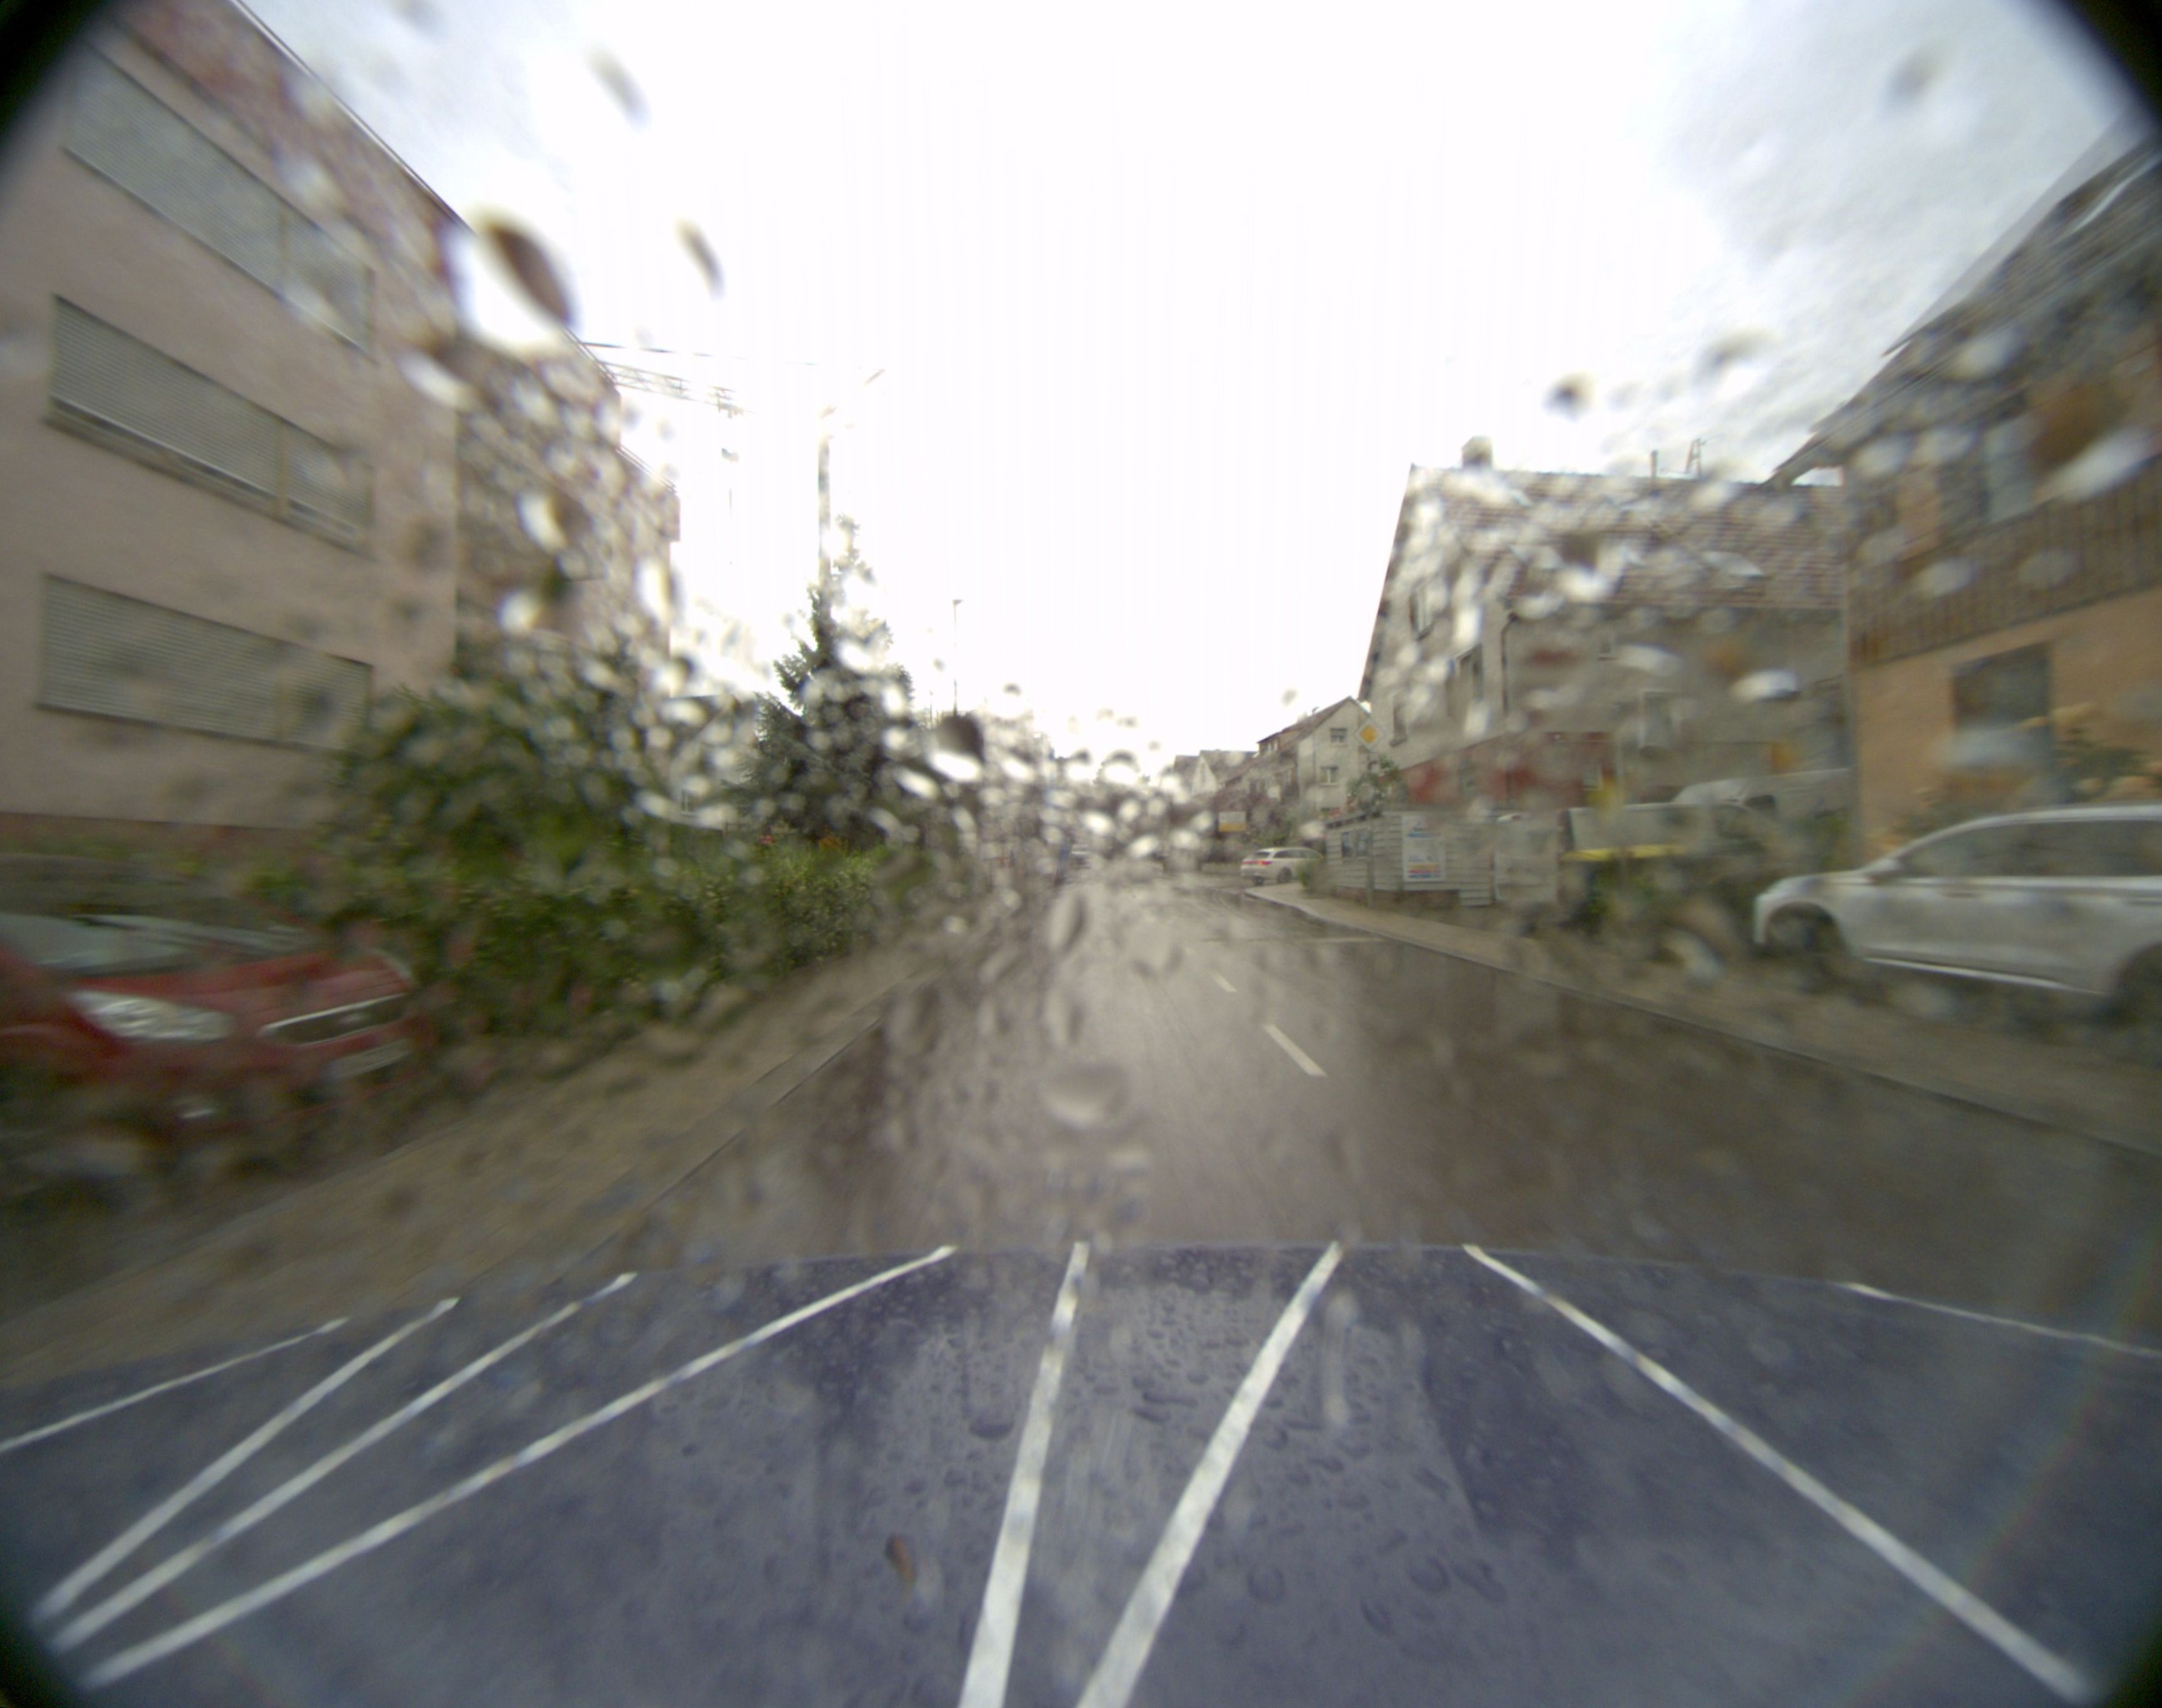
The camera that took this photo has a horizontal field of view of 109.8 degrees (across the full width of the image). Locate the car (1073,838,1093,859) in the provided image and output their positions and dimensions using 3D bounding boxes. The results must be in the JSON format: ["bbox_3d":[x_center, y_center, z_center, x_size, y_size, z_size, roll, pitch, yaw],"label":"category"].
[{"bbox_3d":[0.147,-0.561,76.704,1.711,2.089,3.939,-2,1,-3],"label":"car"}]

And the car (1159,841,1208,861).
[{"bbox_3d":[9.199,-0.283,68.146,4.000,1.696,1.780,-1,1,-10],"label":"car"}]

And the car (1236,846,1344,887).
[{"bbox_3d":[8.393,0.440,30.484,4.215,1.401,1.588,-3,2,-28],"label":"car"}]

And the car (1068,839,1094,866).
[{"bbox_3d":[0.048,-0.094,59.267,1.827,1.963,4.518,-1,-1,2],"label":"car"}]

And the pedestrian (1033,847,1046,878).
[{"bbox_3d":[-2.114,0.411,38.920,0.655,1.572,0.436,0,1,1],"label":"pedestrian"}]

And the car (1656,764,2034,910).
[{"bbox_3d":[15.579,-0.354,15.704,5.860,2.513,2.068,-3,1,-3],"label":"car"}]

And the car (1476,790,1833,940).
[{"bbox_3d":[9.396,0.167,12.676,4.522,1.967,1.999,-4,-1,-7],"label":"car"}]

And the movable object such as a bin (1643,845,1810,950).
[{"bbox_3d":[9.101,0.582,10.778,1.510,1.360,0.996,-2,1,-2],"label":"movable object such as a bin"}]

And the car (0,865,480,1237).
[{"bbox_3d":[-6.103,0.871,4.199,4.120,1.558,1.797,1,1,0],"label":"car"}]

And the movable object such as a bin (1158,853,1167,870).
[{"bbox_3d":[5.174,0.459,48.256,0.521,1.043,0.414,-4,1,2],"label":"movable object such as a bin"}]

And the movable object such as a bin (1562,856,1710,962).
[{"bbox_3d":[7.547,0.722,10.395,1.289,1.360,0.996,-1,1,-2],"label":"movable object such as a bin"}]

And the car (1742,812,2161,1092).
[{"bbox_3d":[7.520,0.571,5.459,1.817,1.696,4.618,-1,0,5],"label":"car"}]

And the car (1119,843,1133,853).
[{"bbox_3d":[6.447,-0.866,109.536,1.708,1.508,3.591,0,1,-2],"label":"car"}]

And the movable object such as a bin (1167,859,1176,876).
[{"bbox_3d":[5.666,0.847,47.737,0.521,1.020,0.414,-1,1,2],"label":"movable object such as a bin"}]
